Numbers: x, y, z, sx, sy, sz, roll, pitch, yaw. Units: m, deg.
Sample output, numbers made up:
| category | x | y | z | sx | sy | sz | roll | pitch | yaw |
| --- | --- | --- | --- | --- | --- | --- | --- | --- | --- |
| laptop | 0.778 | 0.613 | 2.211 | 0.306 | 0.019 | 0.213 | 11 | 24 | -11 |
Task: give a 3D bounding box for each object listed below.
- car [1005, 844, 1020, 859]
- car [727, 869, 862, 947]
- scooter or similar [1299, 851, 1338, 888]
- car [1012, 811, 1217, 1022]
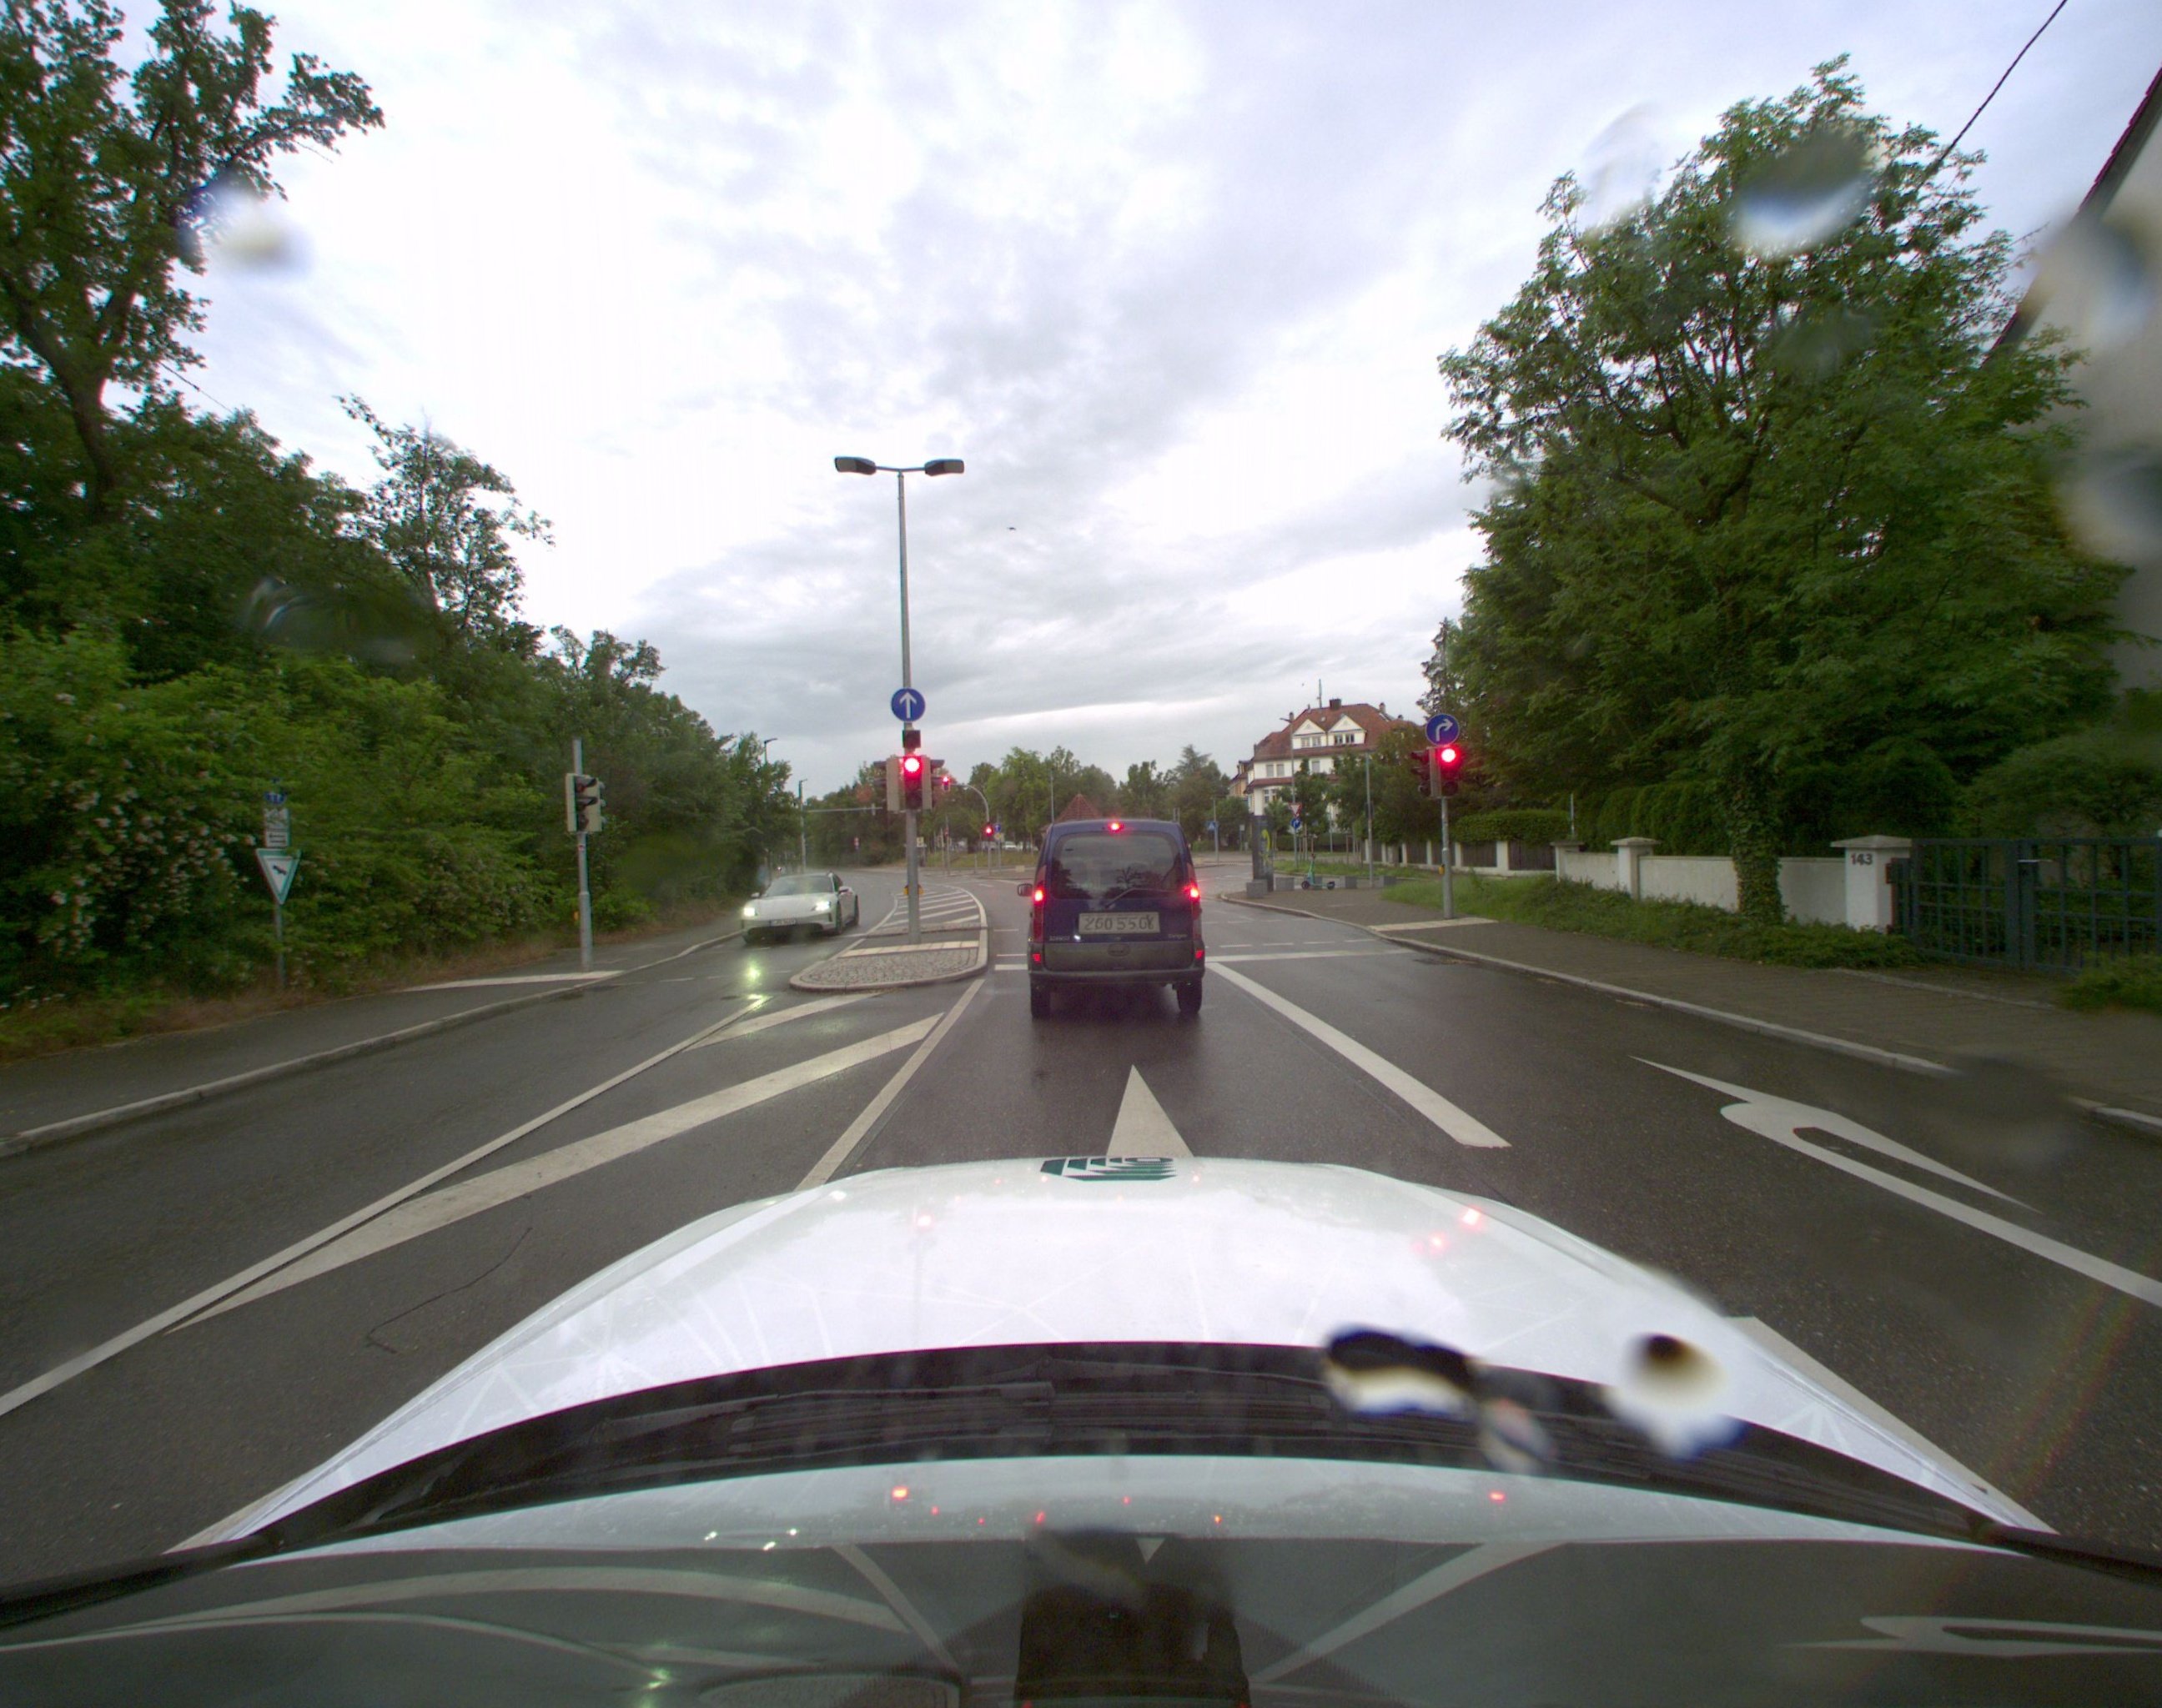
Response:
| category | x | y | z | sx | sy | sz | roll | pitch | yaw |
| --- | --- | --- | --- | --- | --- | --- | --- | --- | --- |
| car | -9.324 | -0.336 | 110.207 | 1.991 | 1.812 | 3.992 | -1 | -1 | -6 |
| car | -6.346 | 1.130 | 18.586 | 1.993 | 1.311 | 4.347 | -5 | 1 | -8 |
| scooter or similar | 8.082 | 0.531 | 27.721 | 1.145 | 1.219 | 0.406 | -2 | -1 | 1 |
| car | 0.291 | 0.529 | 9.023 | 1.726 | 1.786 | 3.999 | -1 | 0 | 0 |
